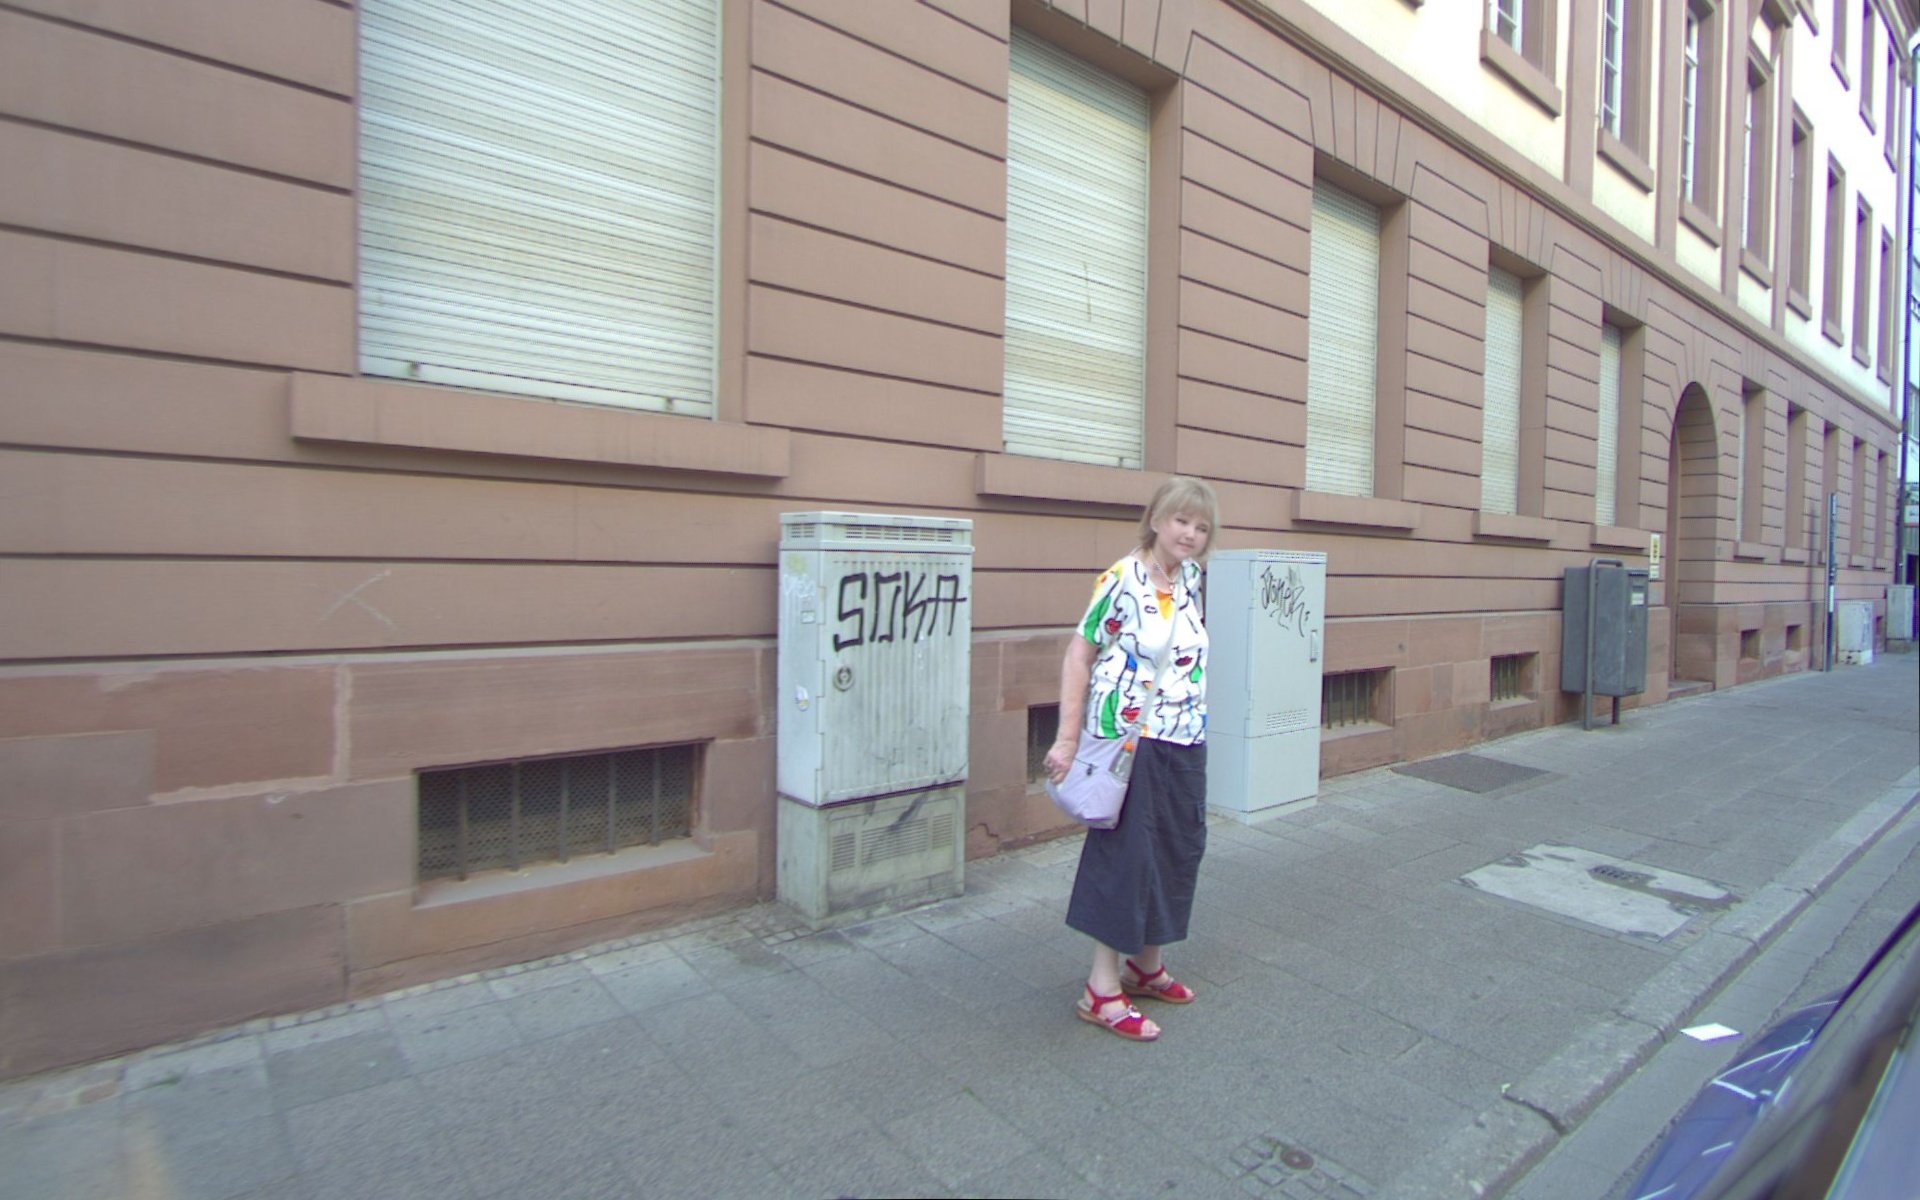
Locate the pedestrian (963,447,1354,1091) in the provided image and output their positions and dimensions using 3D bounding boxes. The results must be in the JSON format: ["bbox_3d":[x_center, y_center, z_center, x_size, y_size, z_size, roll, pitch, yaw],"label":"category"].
[{"bbox_3d":[0.573,0.429,3.226,0.795,1.691,0.933,1,2,-22],"label":"pedestrian"}]
